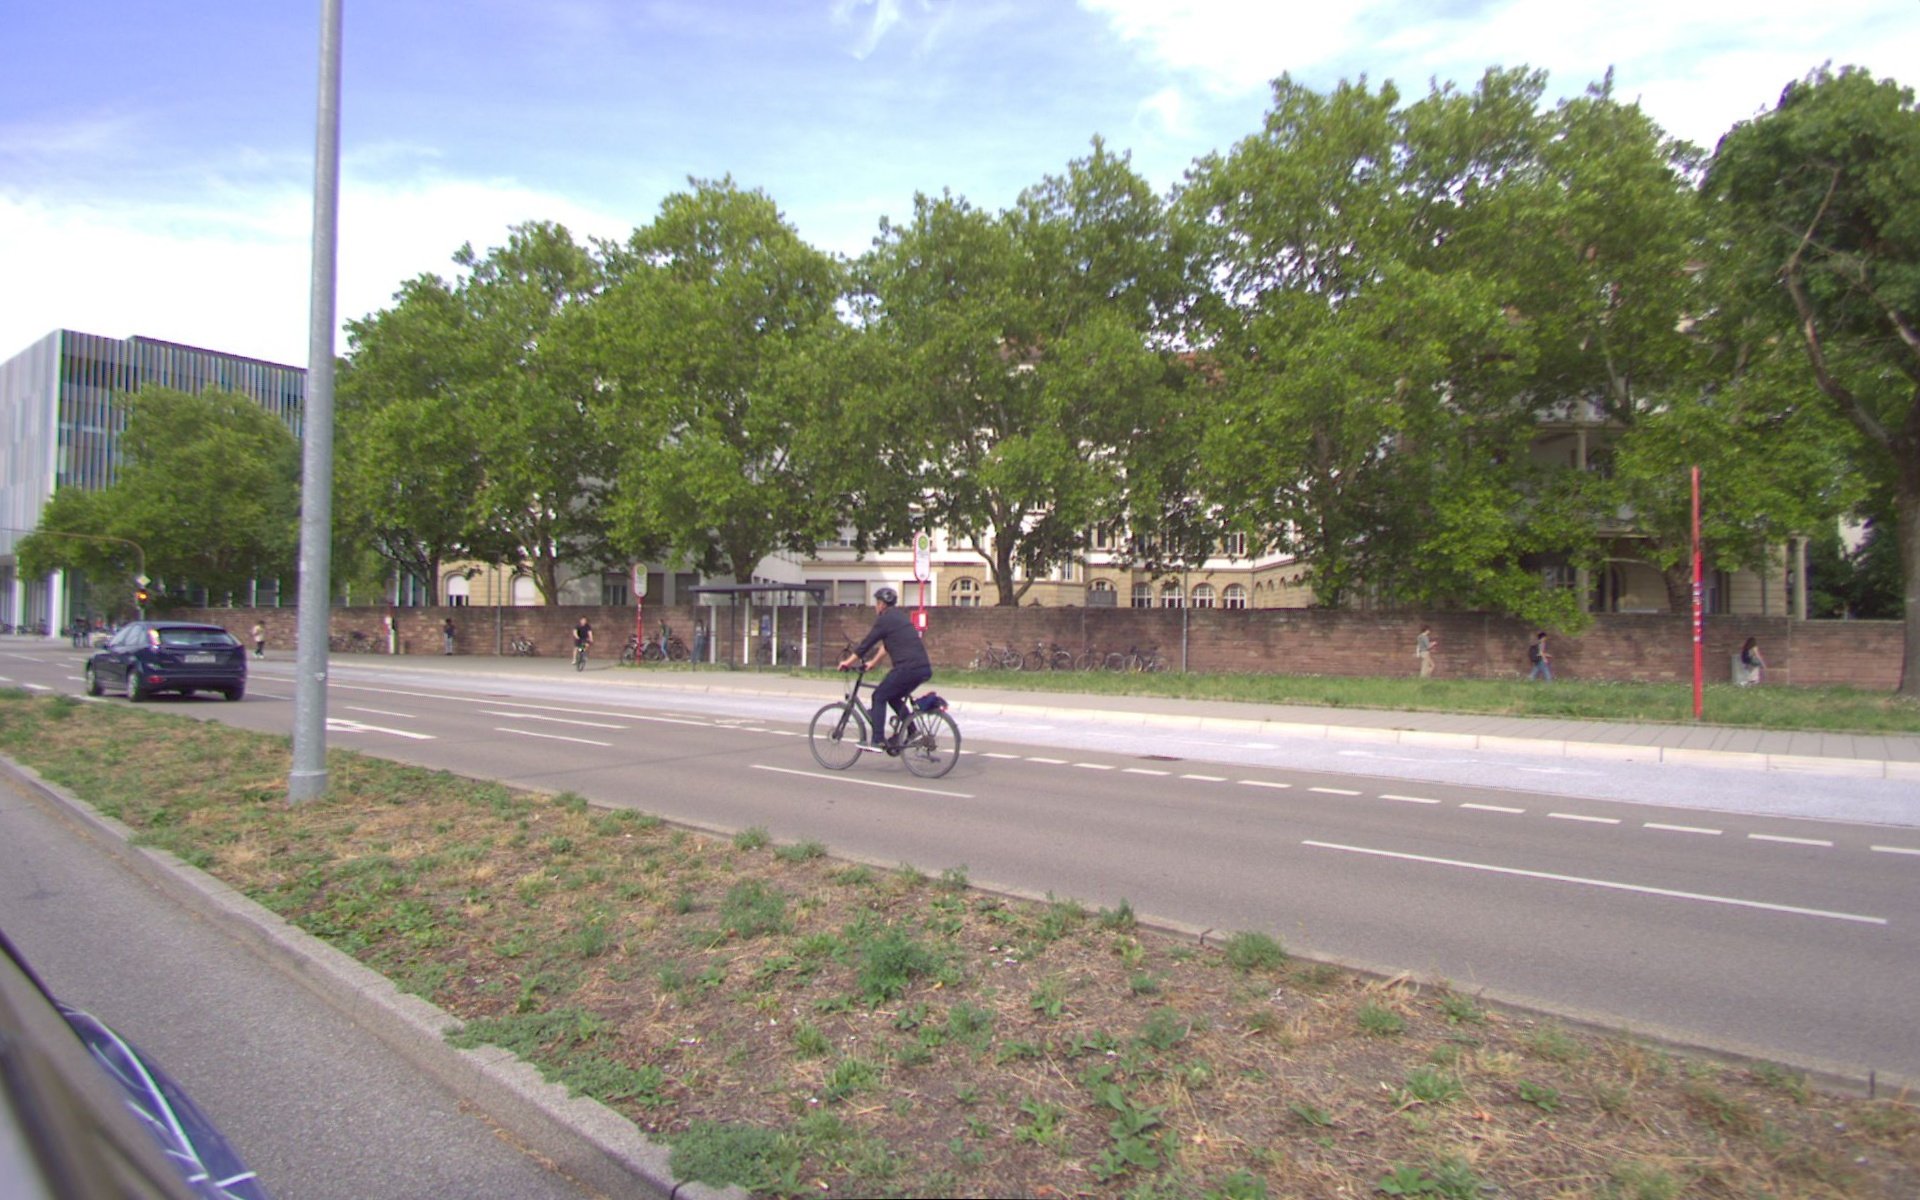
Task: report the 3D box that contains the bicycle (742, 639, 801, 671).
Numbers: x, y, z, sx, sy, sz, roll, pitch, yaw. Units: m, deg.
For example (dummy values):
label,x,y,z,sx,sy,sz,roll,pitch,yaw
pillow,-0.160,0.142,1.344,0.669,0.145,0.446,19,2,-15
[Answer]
label,x,y,z,sx,sy,sz,roll,pitch,yaw
bicycle,-7.135,2.076,38.280,2.082,1.198,0.754,0,-4,19

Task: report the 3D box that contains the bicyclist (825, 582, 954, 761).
label,x,y,z,sx,sy,sz,roll,pitch,yaw
bicyclist,-0.707,0.718,10.349,1.077,1.724,0.773,0,-4,19

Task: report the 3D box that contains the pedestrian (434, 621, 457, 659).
label,x,y,z,sx,sy,sz,roll,pitch,yaw
pedestrian,-22.844,1.771,44.956,0.656,1.634,0.755,0,0,-1

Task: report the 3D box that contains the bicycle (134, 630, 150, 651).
label,x,y,z,sx,sy,sz,roll,pitch,yaw
bicycle,-50.493,2.488,62.450,1.395,1.218,0.506,-1,0,40

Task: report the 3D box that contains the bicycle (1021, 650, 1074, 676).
label,x,y,z,sx,sy,sz,roll,pitch,yaw
bicycle,3.037,2.165,35.059,1.796,0.871,0.356,-1,-5,20

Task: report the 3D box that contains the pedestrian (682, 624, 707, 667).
label,x,y,z,sx,sy,sz,roll,pitch,yaw
pedestrian,-10.300,1.765,39.300,0.749,1.634,0.565,0,0,18

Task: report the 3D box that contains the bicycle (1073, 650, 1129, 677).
label,x,y,z,sx,sy,sz,roll,pitch,yaw
bicycle,4.781,2.152,34.390,1.877,0.871,0.356,-1,-5,22

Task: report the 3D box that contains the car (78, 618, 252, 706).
label,x,y,z,sx,sy,sz,roll,pitch,yaw
car,-15.372,1.148,19.504,4.127,1.501,1.766,-1,-4,40

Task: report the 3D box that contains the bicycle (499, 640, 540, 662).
label,x,y,z,sx,sy,sz,roll,pitch,yaw
bicycle,-18.760,2.176,43.100,1.564,0.894,0.657,-1,1,21

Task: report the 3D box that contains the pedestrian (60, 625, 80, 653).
label,x,y,z,sx,sy,sz,roll,pitch,yaw
pedestrian,-53.232,2.324,60.532,0.664,1.634,0.746,-1,0,34

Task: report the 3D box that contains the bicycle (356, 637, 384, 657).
label,x,y,z,sx,sy,sz,roll,pitch,yaw
bicycle,-27.906,2.222,47.854,1.569,0.894,0.429,-1,1,30

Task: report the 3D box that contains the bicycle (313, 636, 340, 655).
label,x,y,z,sx,sy,sz,roll,pitch,yaw
bicycle,-31.121,2.248,49.734,1.569,0.894,0.429,-1,1,30

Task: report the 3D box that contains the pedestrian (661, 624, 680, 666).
label,x,y,z,sx,sy,sz,roll,pitch,yaw
pedestrian,-11.282,1.754,39.502,0.481,1.634,0.565,0,0,18

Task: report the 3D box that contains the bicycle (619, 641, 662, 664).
label,x,y,z,sx,sy,sz,roll,pitch,yaw
bicycle,-12.751,2.098,40.380,1.564,0.894,0.657,-1,1,21

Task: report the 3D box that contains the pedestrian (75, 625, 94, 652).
label,x,y,z,sx,sy,sz,roll,pitch,yaw
pedestrian,-53.051,2.326,61.309,0.664,1.634,0.746,-1,0,34

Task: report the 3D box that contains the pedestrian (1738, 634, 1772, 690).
label,x,y,z,sx,sy,sz,roll,pitch,yaw
pedestrian,24.363,1.886,31.019,0.622,1.667,0.531,0,0,6

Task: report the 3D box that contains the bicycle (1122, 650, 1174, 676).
label,x,y,z,sx,sy,sz,roll,pitch,yaw
bicycle,6.373,2.142,34.325,1.692,0.871,0.357,0,-4,15

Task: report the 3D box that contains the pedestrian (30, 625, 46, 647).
label,x,y,z,sx,sy,sz,roll,pitch,yaw
pedestrian,-69.200,2.678,75.955,0.664,1.634,0.746,-1,0,34

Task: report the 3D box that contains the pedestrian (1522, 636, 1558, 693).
label,x,y,z,sx,sy,sz,roll,pitch,yaw
pedestrian,17.655,1.954,30.827,0.768,1.667,0.579,0,0,-20

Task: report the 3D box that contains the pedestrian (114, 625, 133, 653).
label,x,y,z,sx,sy,sz,roll,pitch,yaw
pedestrian,-49.266,2.270,59.598,0.664,1.634,0.746,-1,0,34

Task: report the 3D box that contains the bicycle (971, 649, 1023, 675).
label,x,y,z,sx,sy,sz,roll,pitch,yaw
bicycle,1.301,2.177,35.638,1.807,0.871,0.357,0,-4,17

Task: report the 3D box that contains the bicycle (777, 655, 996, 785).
label,x,y,z,sx,sy,sz,roll,pitch,yaw
bicycle,-0.742,1.184,10.315,2.082,1.198,0.754,0,-4,19

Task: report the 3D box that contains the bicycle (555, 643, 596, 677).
label,x,y,z,sx,sy,sz,roll,pitch,yaw
bicycle,-12.197,1.880,32.048,0.498,0.943,1.974,2,0,-43

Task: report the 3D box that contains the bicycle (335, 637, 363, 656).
label,x,y,z,sx,sy,sz,roll,pitch,yaw
bicycle,-29.611,2.236,49.027,1.569,0.894,0.429,-1,1,30

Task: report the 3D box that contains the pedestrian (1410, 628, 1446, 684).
label,x,y,z,sx,sy,sz,roll,pitch,yaw
pedestrian,14.291,1.689,30.917,0.769,1.667,0.578,0,0,-10

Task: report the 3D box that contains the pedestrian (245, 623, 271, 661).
label,x,y,z,sx,sy,sz,roll,pitch,yaw
pedestrian,-31.380,1.873,45.245,0.664,1.634,0.746,-1,0,34

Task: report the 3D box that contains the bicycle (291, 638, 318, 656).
label,x,y,z,sx,sy,sz,roll,pitch,yaw
bicycle,-32.796,2.355,50.653,1.569,0.894,0.429,-1,1,30

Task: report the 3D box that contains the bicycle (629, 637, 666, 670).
label,x,y,z,sx,sy,sz,roll,pitch,yaw
bicycle,-12.002,2.071,38.926,0.748,1.198,2.098,1,-4,0

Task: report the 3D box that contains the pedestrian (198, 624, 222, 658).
label,x,y,z,sx,sy,sz,roll,pitch,yaw
pedestrian,-36.415,1.985,49.152,0.664,1.634,0.746,-1,0,34

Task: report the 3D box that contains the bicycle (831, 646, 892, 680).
label,x,y,z,sx,sy,sz,roll,pitch,yaw
bicycle,-3.588,2.314,36.903,2.082,1.198,0.754,0,-4,19

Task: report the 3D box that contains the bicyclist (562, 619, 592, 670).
label,x,y,z,sx,sy,sz,roll,pitch,yaw
bicyclist,-12.092,1.385,31.946,0.571,1.567,0.799,2,-1,-42
